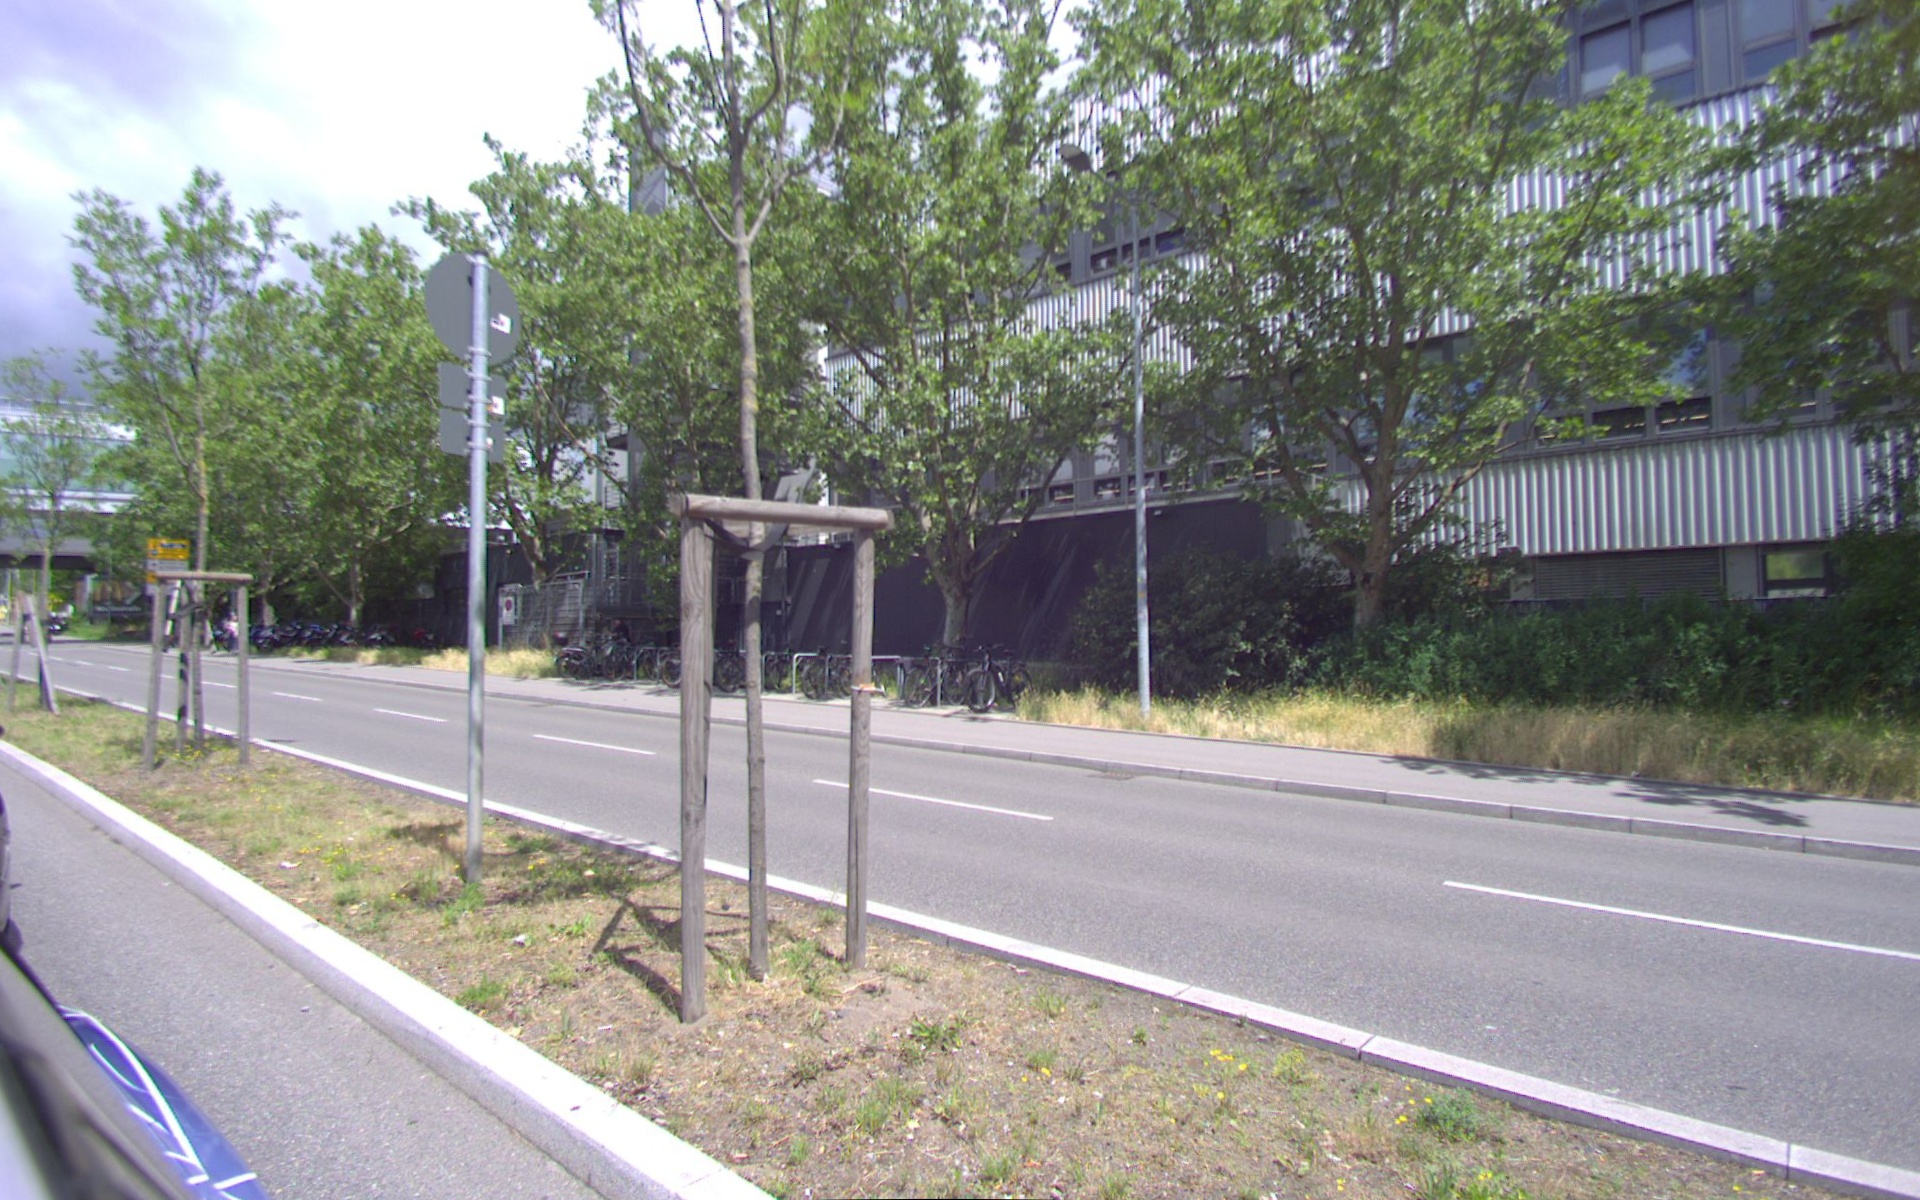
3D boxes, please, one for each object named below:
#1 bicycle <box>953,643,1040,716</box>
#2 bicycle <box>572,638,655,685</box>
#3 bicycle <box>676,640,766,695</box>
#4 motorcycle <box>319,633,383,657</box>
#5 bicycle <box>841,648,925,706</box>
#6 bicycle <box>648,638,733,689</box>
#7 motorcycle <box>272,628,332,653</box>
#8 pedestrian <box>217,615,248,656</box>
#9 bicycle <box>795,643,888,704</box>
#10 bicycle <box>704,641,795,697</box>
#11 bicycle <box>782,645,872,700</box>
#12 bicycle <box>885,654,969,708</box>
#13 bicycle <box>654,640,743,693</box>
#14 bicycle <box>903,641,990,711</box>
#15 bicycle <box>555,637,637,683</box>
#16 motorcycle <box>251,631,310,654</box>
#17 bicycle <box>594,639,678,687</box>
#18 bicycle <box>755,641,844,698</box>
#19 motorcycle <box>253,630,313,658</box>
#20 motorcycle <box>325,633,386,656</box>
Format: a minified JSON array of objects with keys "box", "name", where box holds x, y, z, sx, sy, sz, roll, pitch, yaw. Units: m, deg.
[{"box":[0.660,1.340,17.398,0.381,1.137,1.968,-2,-1,39],"name":"bicycle"},{"box":[-8.905,1.573,26.086,0.382,1.119,2.101,-2,-1,43],"name":"bicycle"},{"box":[-5.333,1.490,22.667,0.382,1.119,2.101,-2,-1,43],"name":"bicycle"},{"box":[-23.915,1.757,39.780,0.534,0.905,2.105,-2,-1,41],"name":"motorcycle"},{"box":[-1.469,1.478,19.707,0.381,1.005,1.968,-2,-1,39],"name":"bicycle"},{"box":[-6.481,1.513,24.414,0.382,1.119,2.101,-2,-1,43],"name":"bicycle"},{"box":[-28.081,1.723,43.234,0.534,0.976,2.105,-2,-1,41],"name":"motorcycle"},{"box":[-31.026,1.512,43.162,0.672,1.734,0.888,-2,-2,41],"name":"pedestrian"},{"box":[-2.340,1.437,20.228,0.382,1.104,2.101,-2,-1,43],"name":"bicycle"},{"box":[-4.543,1.481,22.017,0.382,1.119,2.101,-2,-1,43],"name":"bicycle"},{"box":[-2.743,1.481,21.137,0.382,1.038,2.101,-2,-1,43],"name":"bicycle"},{"box":[-0.597,1.522,19.221,0.381,0.897,1.968,-2,-1,39],"name":"bicycle"},{"box":[-5.990,1.502,23.264,0.382,1.119,2.101,-2,-1,43],"name":"bicycle"},{"box":[-0.219,1.337,18.120,0.381,1.137,1.968,-2,-1,39],"name":"bicycle"},{"box":[-9.546,1.554,26.631,0.382,1.119,2.101,-2,-1,43],"name":"bicycle"},{"box":[-30.253,1.876,45.074,0.534,0.976,2.105,-2,-1,41],"name":"motorcycle"},{"box":[-8.161,1.569,25.537,0.382,1.119,2.101,-2,-1,43],"name":"bicycle"},{"box":[-3.412,1.458,21.751,0.382,1.119,2.101,-2,-1,43],"name":"bicycle"},{"box":[-29.256,1.904,43.776,0.534,1.146,2.105,-2,-1,41],"name":"motorcycle"},{"box":[-24.994,1.824,41.891,0.534,0.892,2.105,-2,-1,41],"name":"motorcycle"}]
